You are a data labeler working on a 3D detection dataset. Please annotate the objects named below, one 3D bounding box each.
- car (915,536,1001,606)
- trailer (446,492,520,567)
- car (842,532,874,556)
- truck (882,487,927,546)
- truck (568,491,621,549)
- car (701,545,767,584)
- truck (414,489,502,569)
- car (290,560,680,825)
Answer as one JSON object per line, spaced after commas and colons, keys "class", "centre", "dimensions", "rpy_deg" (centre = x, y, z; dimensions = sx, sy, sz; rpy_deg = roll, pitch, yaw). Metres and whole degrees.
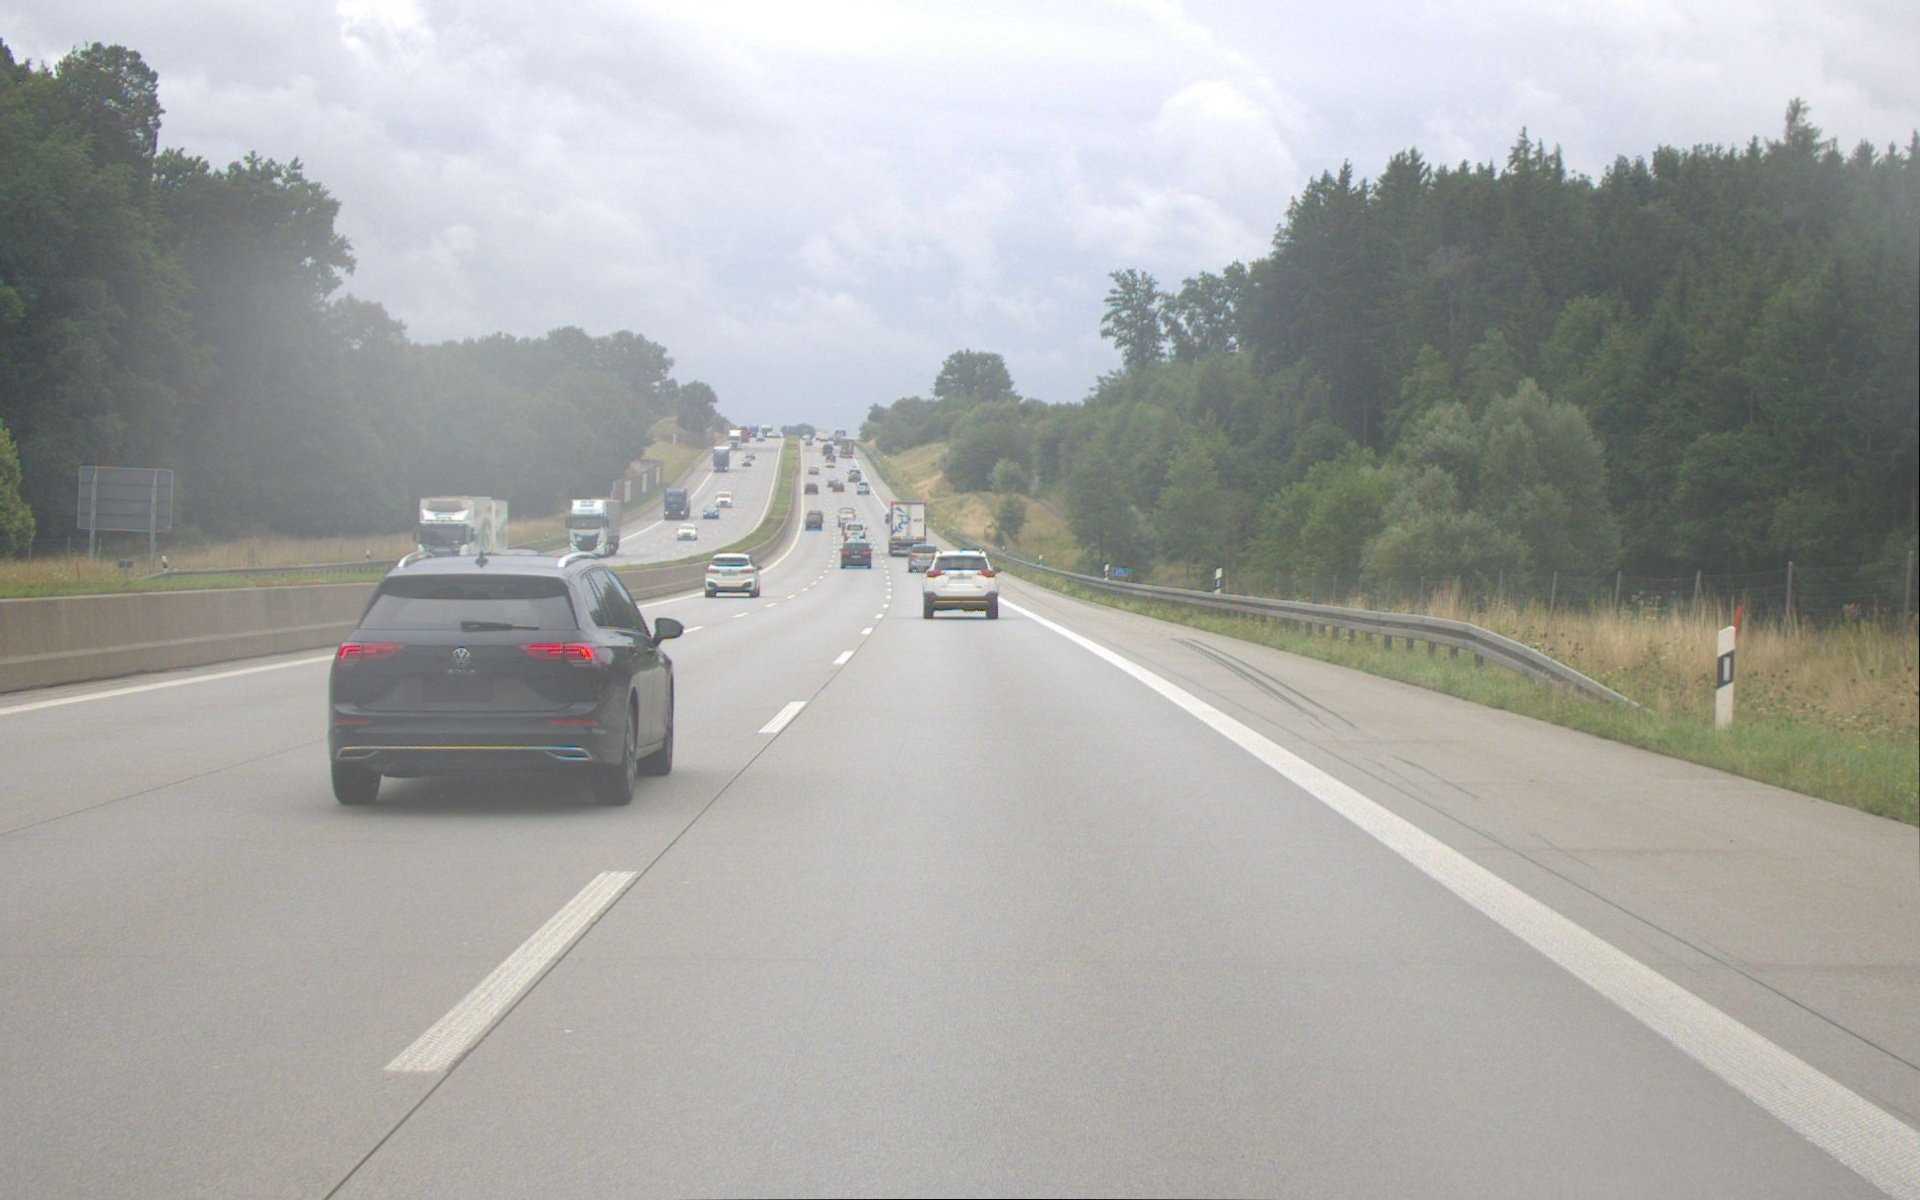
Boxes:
{"class": "car", "centre": [-0.081, -0.731, 83.623], "dimensions": [1.825, 1.650, 3.986], "rpy_deg": [1, 1, -4]}
{"class": "trailer", "centre": [-24.829, -3.696, 179.217], "dimensions": [2.818, 3.770, 7.716], "rpy_deg": [1, 1, -1]}
{"class": "car", "centre": [-6.212, -3.402, 209.258], "dimensions": [1.935, 1.370, 4.595], "rpy_deg": [1, 2, -2]}
{"class": "truck", "centre": [-4.165, -6.243, 255.563], "dimensions": [3.017, 4.165, 8.356], "rpy_deg": [1, 3, -3]}
{"class": "truck", "centre": [-25.968, -5.682, 244.627], "dimensions": [3.212, 4.043, 7.167], "rpy_deg": [1, 1, -2]}
{"class": "car", "centre": [-8.002, -1.279, 121.882], "dimensions": [1.947, 1.351, 4.259], "rpy_deg": [1, 1, 1]}
{"class": "truck", "centre": [-24.689, -3.489, 169.649], "dimensions": [2.813, 3.760, 11.352], "rpy_deg": [1, 1, -1]}
{"class": "car", "centre": [-2.768, 0.478, 20.944], "dimensions": [1.752, 1.393, 4.484], "rpy_deg": [1, 1, 0]}
